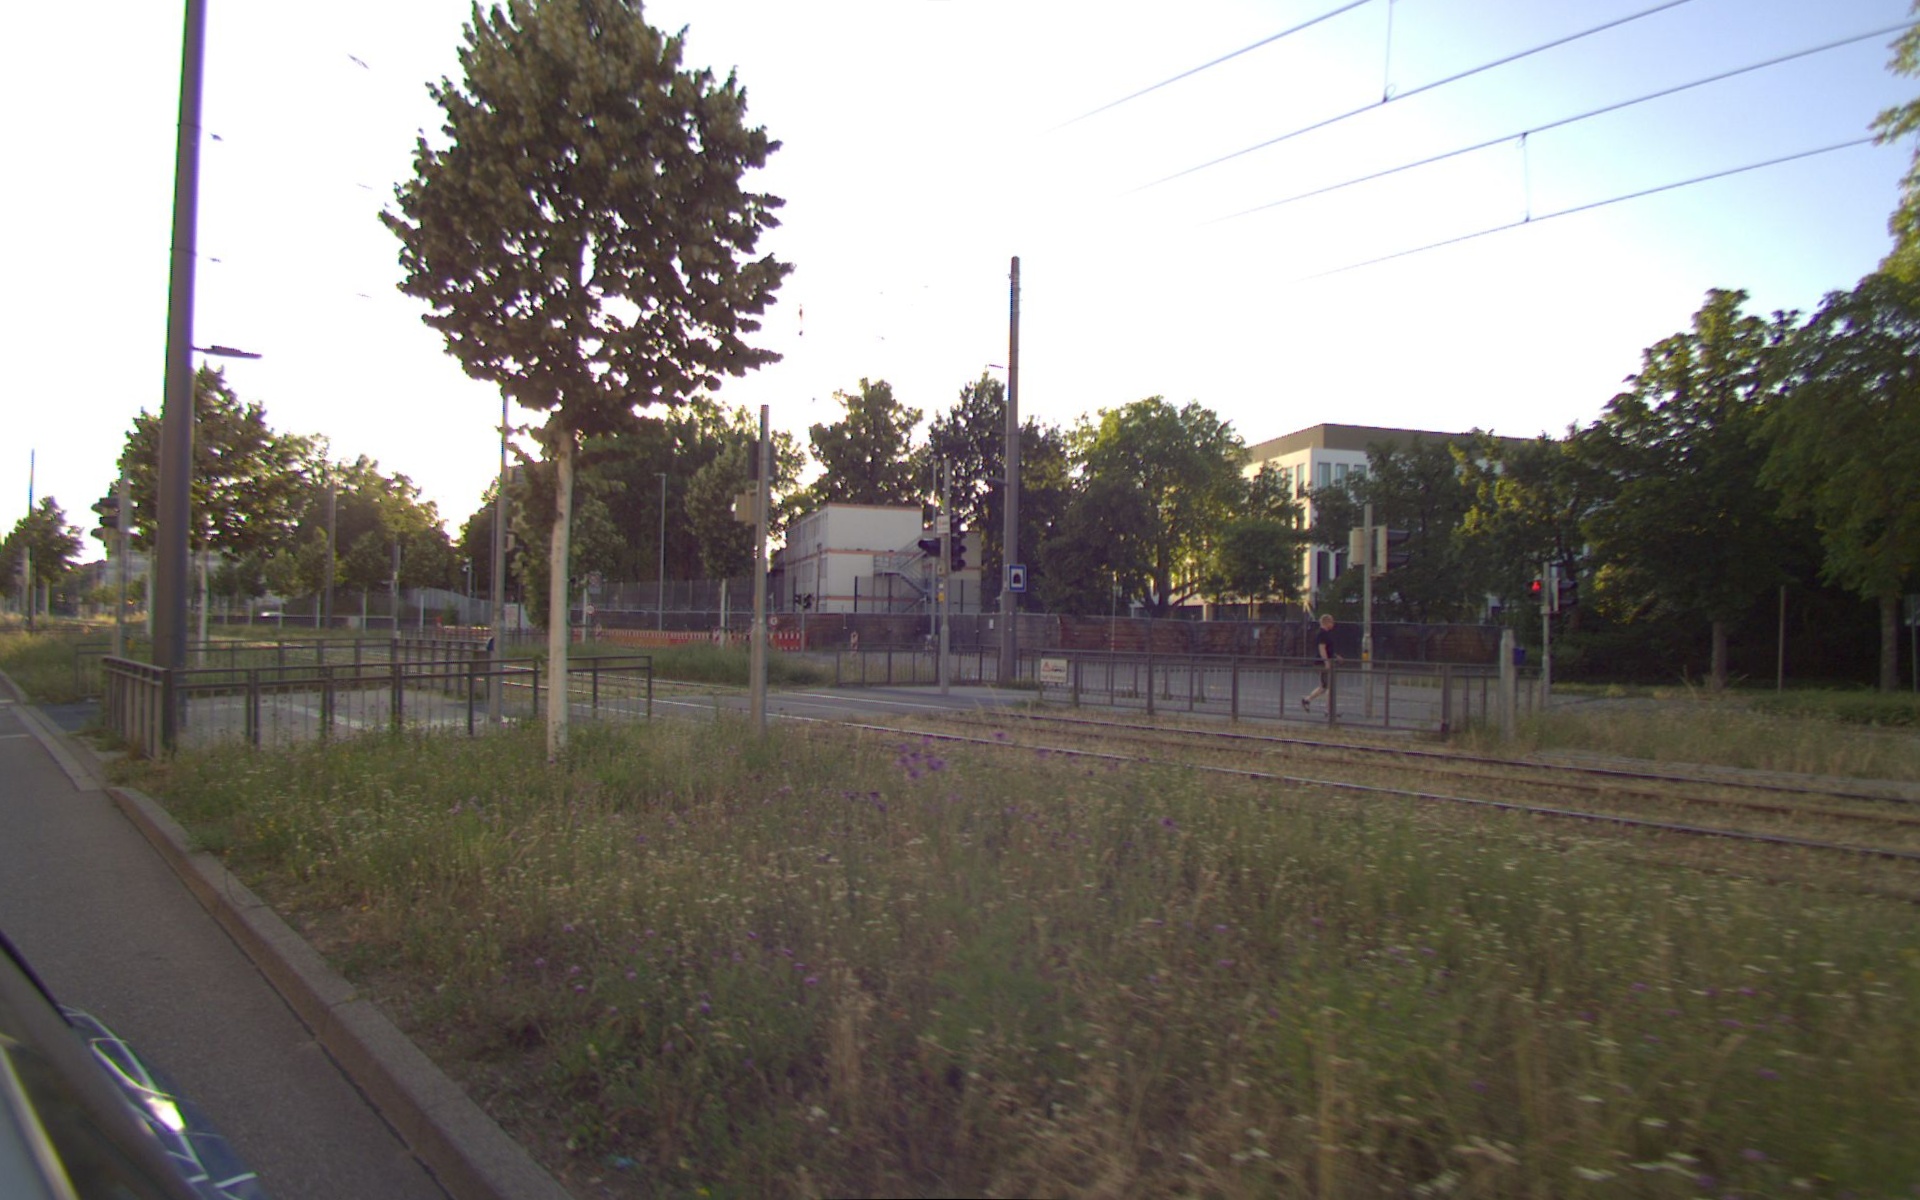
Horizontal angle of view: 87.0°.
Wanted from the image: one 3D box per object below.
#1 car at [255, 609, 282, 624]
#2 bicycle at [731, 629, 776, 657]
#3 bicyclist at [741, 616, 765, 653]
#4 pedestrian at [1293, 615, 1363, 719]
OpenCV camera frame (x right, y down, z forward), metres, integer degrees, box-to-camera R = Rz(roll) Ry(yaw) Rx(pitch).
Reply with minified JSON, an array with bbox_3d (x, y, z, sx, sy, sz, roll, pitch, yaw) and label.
[{"bbox_3d":[-76.109,1.815,111.335,1.823,1.572,3.802,-1,0,-45],"label":"car"},{"bbox_3d":[-9.158,1.889,44.857,1.866,1.142,0.719,-1,0,-18],"label":"bicycle"},{"bbox_3d":[-9.164,1.515,44.860,0.928,1.633,0.719,-1,0,-18],"label":"bicyclist"},{"bbox_3d":[5.967,1.091,16.440,0.660,1.620,0.679,-2,-4,-18],"label":"pedestrian"}]
